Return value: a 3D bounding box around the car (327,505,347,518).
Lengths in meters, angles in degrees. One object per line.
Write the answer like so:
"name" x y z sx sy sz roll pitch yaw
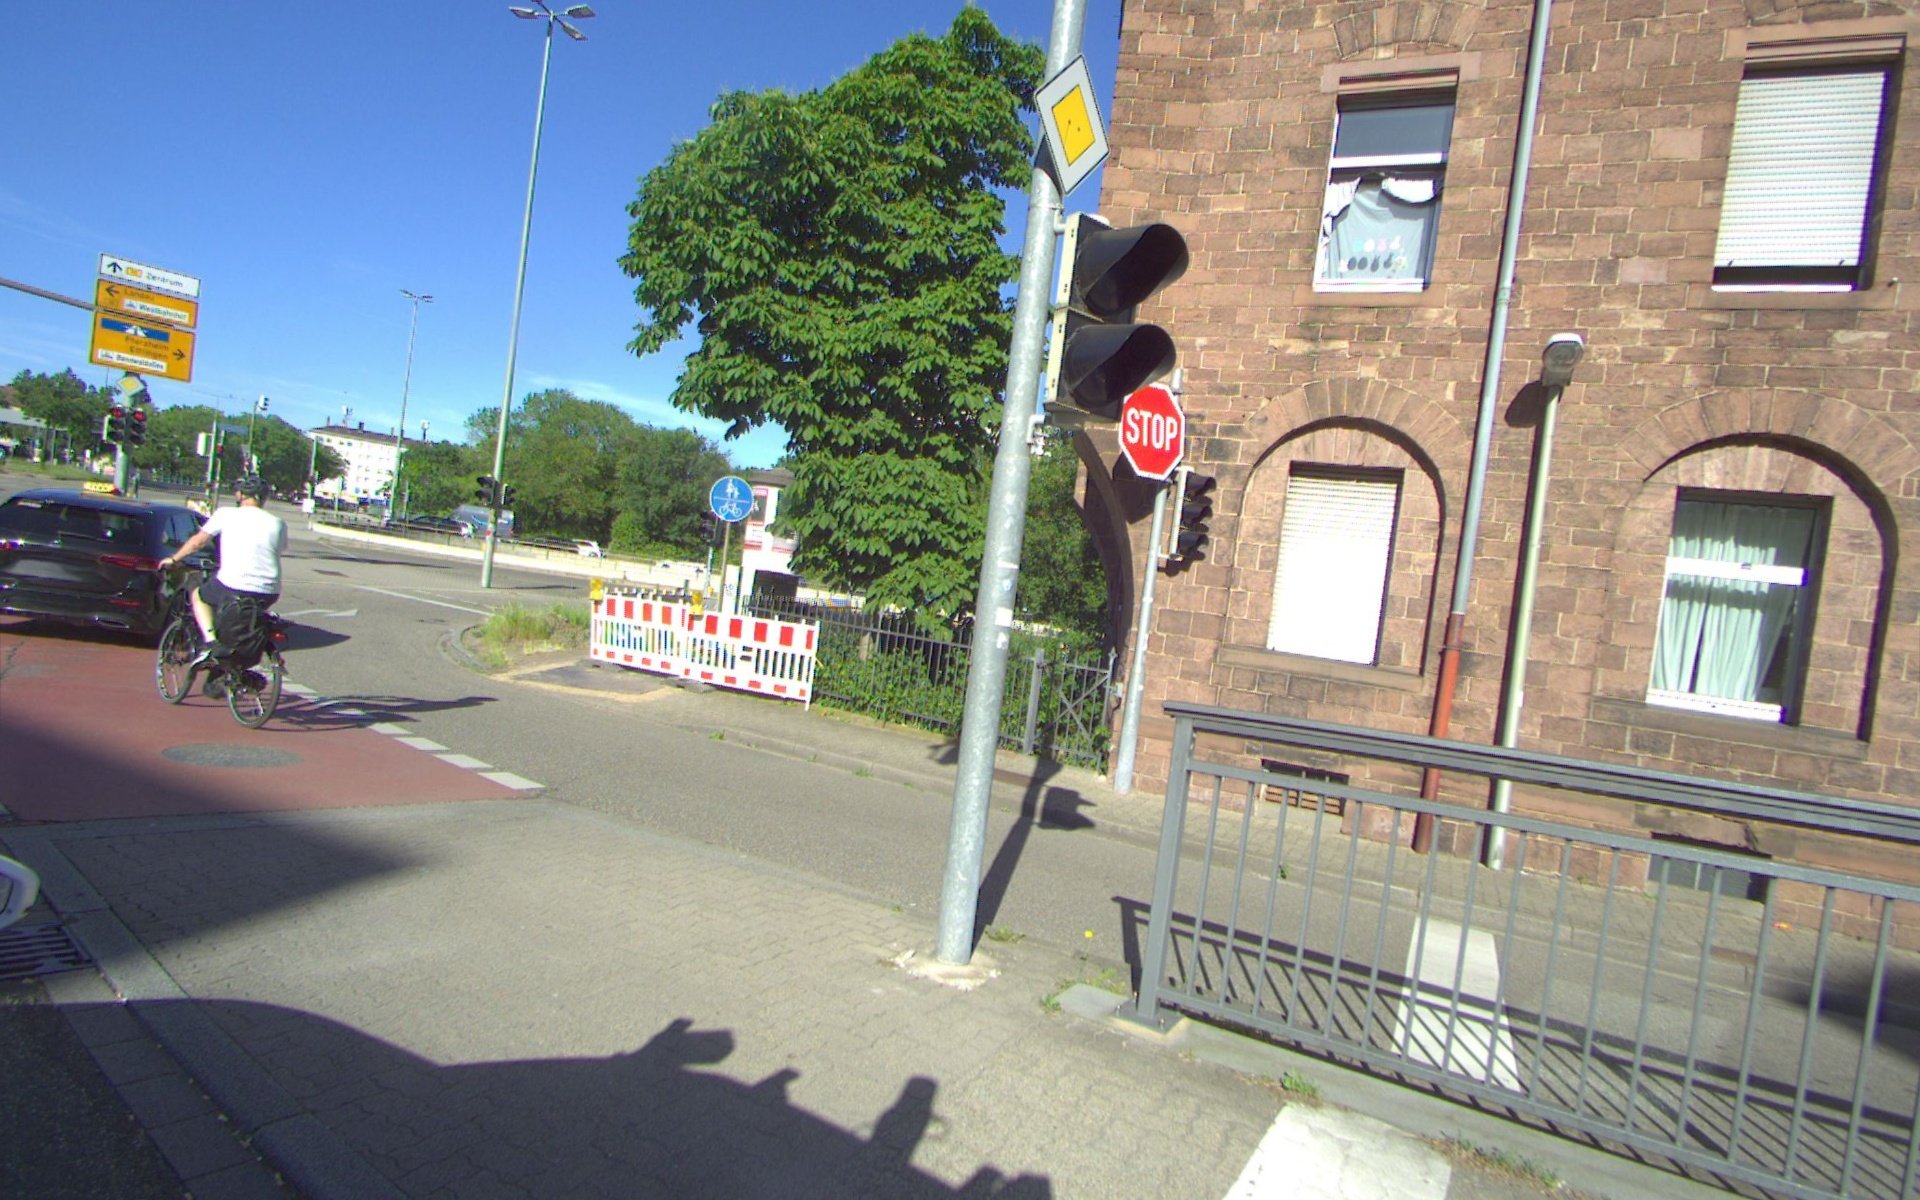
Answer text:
"car" -94.332 -13.432 152.386 1.975 1.661 3.974 7 1 -25

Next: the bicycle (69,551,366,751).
"bicycle" -5.574 0.342 7.501 2.361 1.124 0.801 7 -1 30

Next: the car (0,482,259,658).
"car" -9.619 -0.379 11.544 1.736 1.511 3.976 9 -1 -25

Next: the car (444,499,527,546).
"car" -35.309 -5.732 74.978 4.800 2.638 2.261 7 -1 -5

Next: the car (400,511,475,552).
"car" -34.855 -4.558 67.260 3.939 2.037 1.994 7 -1 -16

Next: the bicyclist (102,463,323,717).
"bicyclist" -5.598 -0.067 7.544 1.067 1.725 0.801 7 -1 30

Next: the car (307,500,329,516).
"car" -85.394 -12.228 133.753 1.977 1.816 3.970 7 1 -28

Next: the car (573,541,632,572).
"car" -27.177 -3.311 76.622 3.939 1.770 1.994 7 -2 -16

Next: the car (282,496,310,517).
"car" -77.010 -10.811 116.750 1.975 1.815 3.978 7 -2 -25
